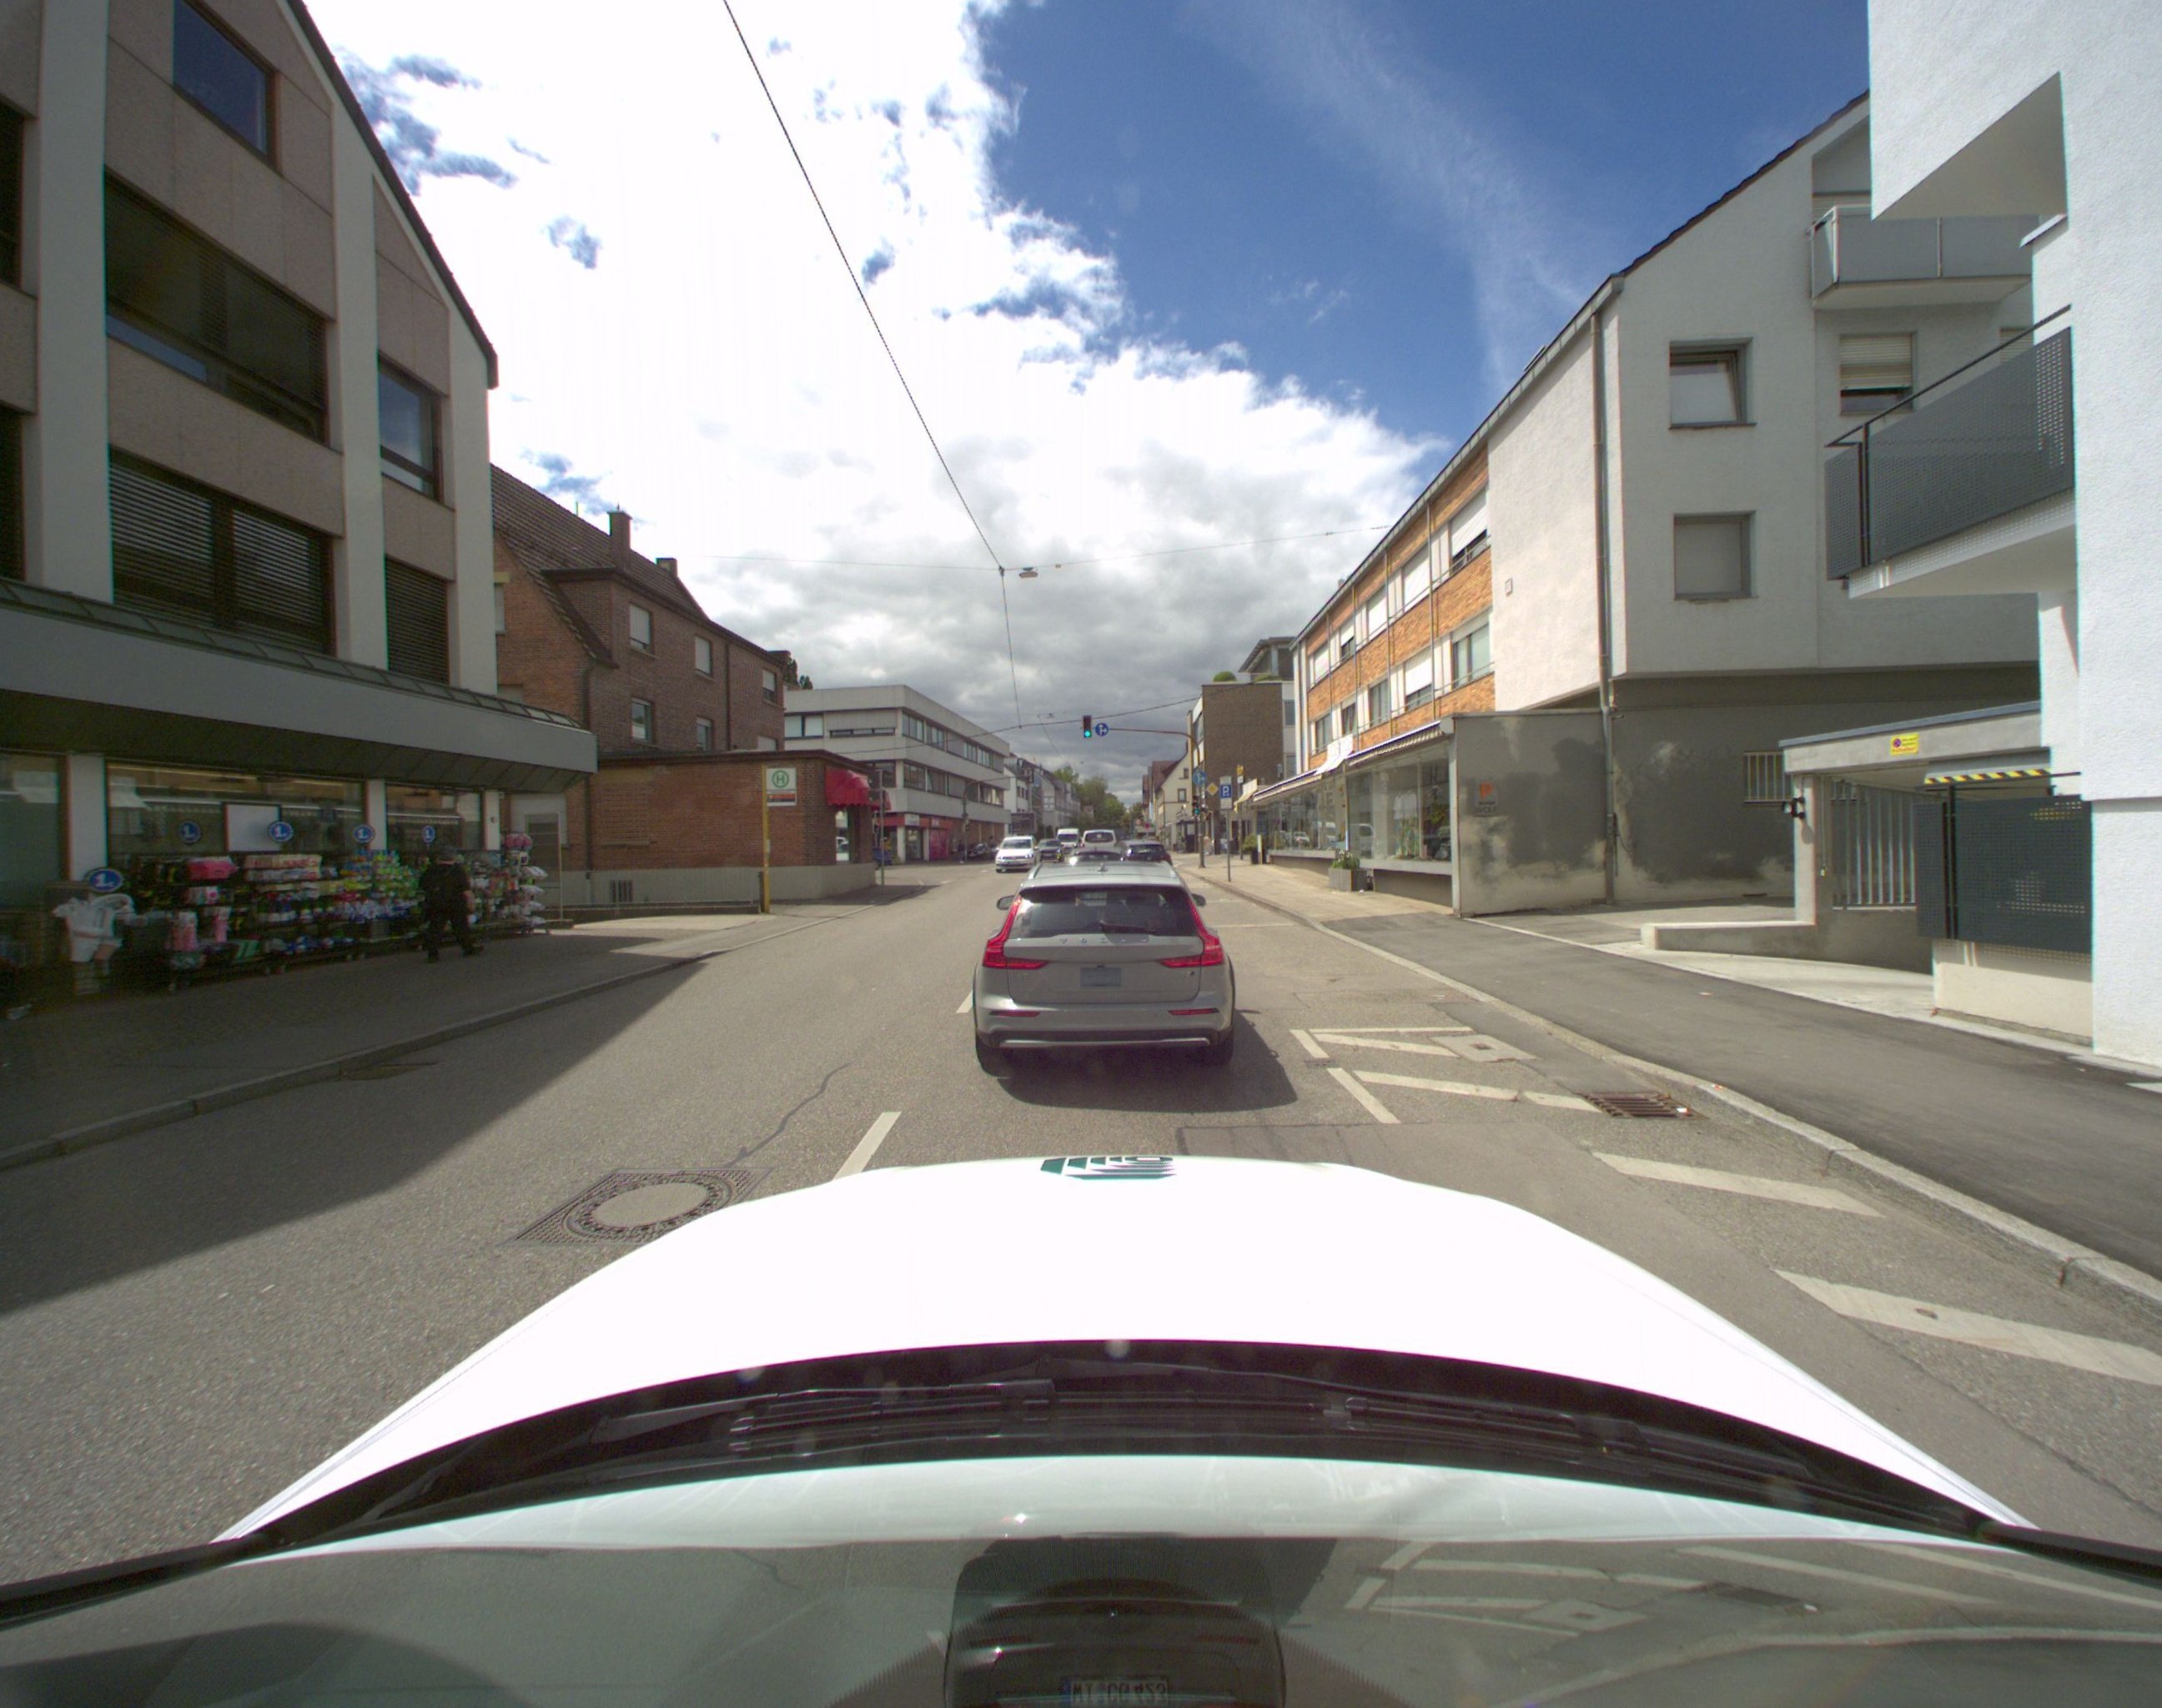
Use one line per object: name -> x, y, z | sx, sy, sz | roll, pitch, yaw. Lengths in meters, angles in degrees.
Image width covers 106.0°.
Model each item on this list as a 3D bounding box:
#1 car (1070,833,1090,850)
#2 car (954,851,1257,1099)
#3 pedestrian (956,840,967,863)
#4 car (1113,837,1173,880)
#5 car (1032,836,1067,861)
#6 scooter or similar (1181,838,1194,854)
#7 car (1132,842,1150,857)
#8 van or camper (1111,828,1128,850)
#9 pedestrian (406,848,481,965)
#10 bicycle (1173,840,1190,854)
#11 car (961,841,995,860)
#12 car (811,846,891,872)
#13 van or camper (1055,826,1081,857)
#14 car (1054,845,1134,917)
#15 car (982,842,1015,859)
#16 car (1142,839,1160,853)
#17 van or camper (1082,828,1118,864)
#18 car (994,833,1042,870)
car -> -0.117, -1.361, 86.343 | 1.773, 1.639, 4.225 | -3, 1, 3
car -> 0.211, 0.745, 7.010 | 1.829, 1.486, 4.002 | -1, 0, 2
pedestrian -> -8.515, -0.198, 57.920 | 0.616, 1.641, 0.661 | -2, 1, 3
car -> 2.065, 0.137, 28.083 | 1.801, 1.346, 3.718 | -1, 0, 0
car -> -2.045, -0.363, 54.069 | 1.782, 1.511, 3.850 | -1, 0, 5
scooter or similar -> 8.595, -0.629, 65.570 | 0.342, 1.253, 1.236 | -4, 0, -23
car -> 5.343, -0.373, 72.647 | 1.433, 1.287, 3.249 | -1, 0, 2
van or camper -> 5.026, -1.971, 105.590 | 2.114, 2.686, 4.785 | -2, 1, 3
pedestrian -> -8.834, 0.709, 11.294 | 0.776, 1.558, 0.567 | 1, -2, -39
bicycle -> 8.490, -0.550, 68.752 | 0.555, 1.144, 2.288 | -3, 1, -15
car -> -8.146, -0.301, 64.912 | 1.776, 1.464, 4.094 | 0, 1, 6
car -> -13.729, 0.304, 48.617 | 4.364, 1.337, 1.984 | -3, 1, -25
van or camper -> -1.115, -1.171, 73.456 | 2.141, 2.556, 5.438 | -2, 2, 0
car -> 0.329, 0.545, 18.853 | 1.644, 1.482, 3.609 | -1, 0, 2
car -> -7.127, -0.336, 70.685 | 1.894, 1.443, 4.451 | 0, 1, 6
car -> 8.080, -0.936, 93.821 | 1.705, 1.464, 4.000 | -1, -1, 0
van or camper -> 1.021, -0.383, 43.861 | 1.812, 1.835, 4.001 | -1, -1, 2
car -> -2.882, -0.108, 38.274 | 1.768, 1.613, 4.121 | -1, 0, 2
